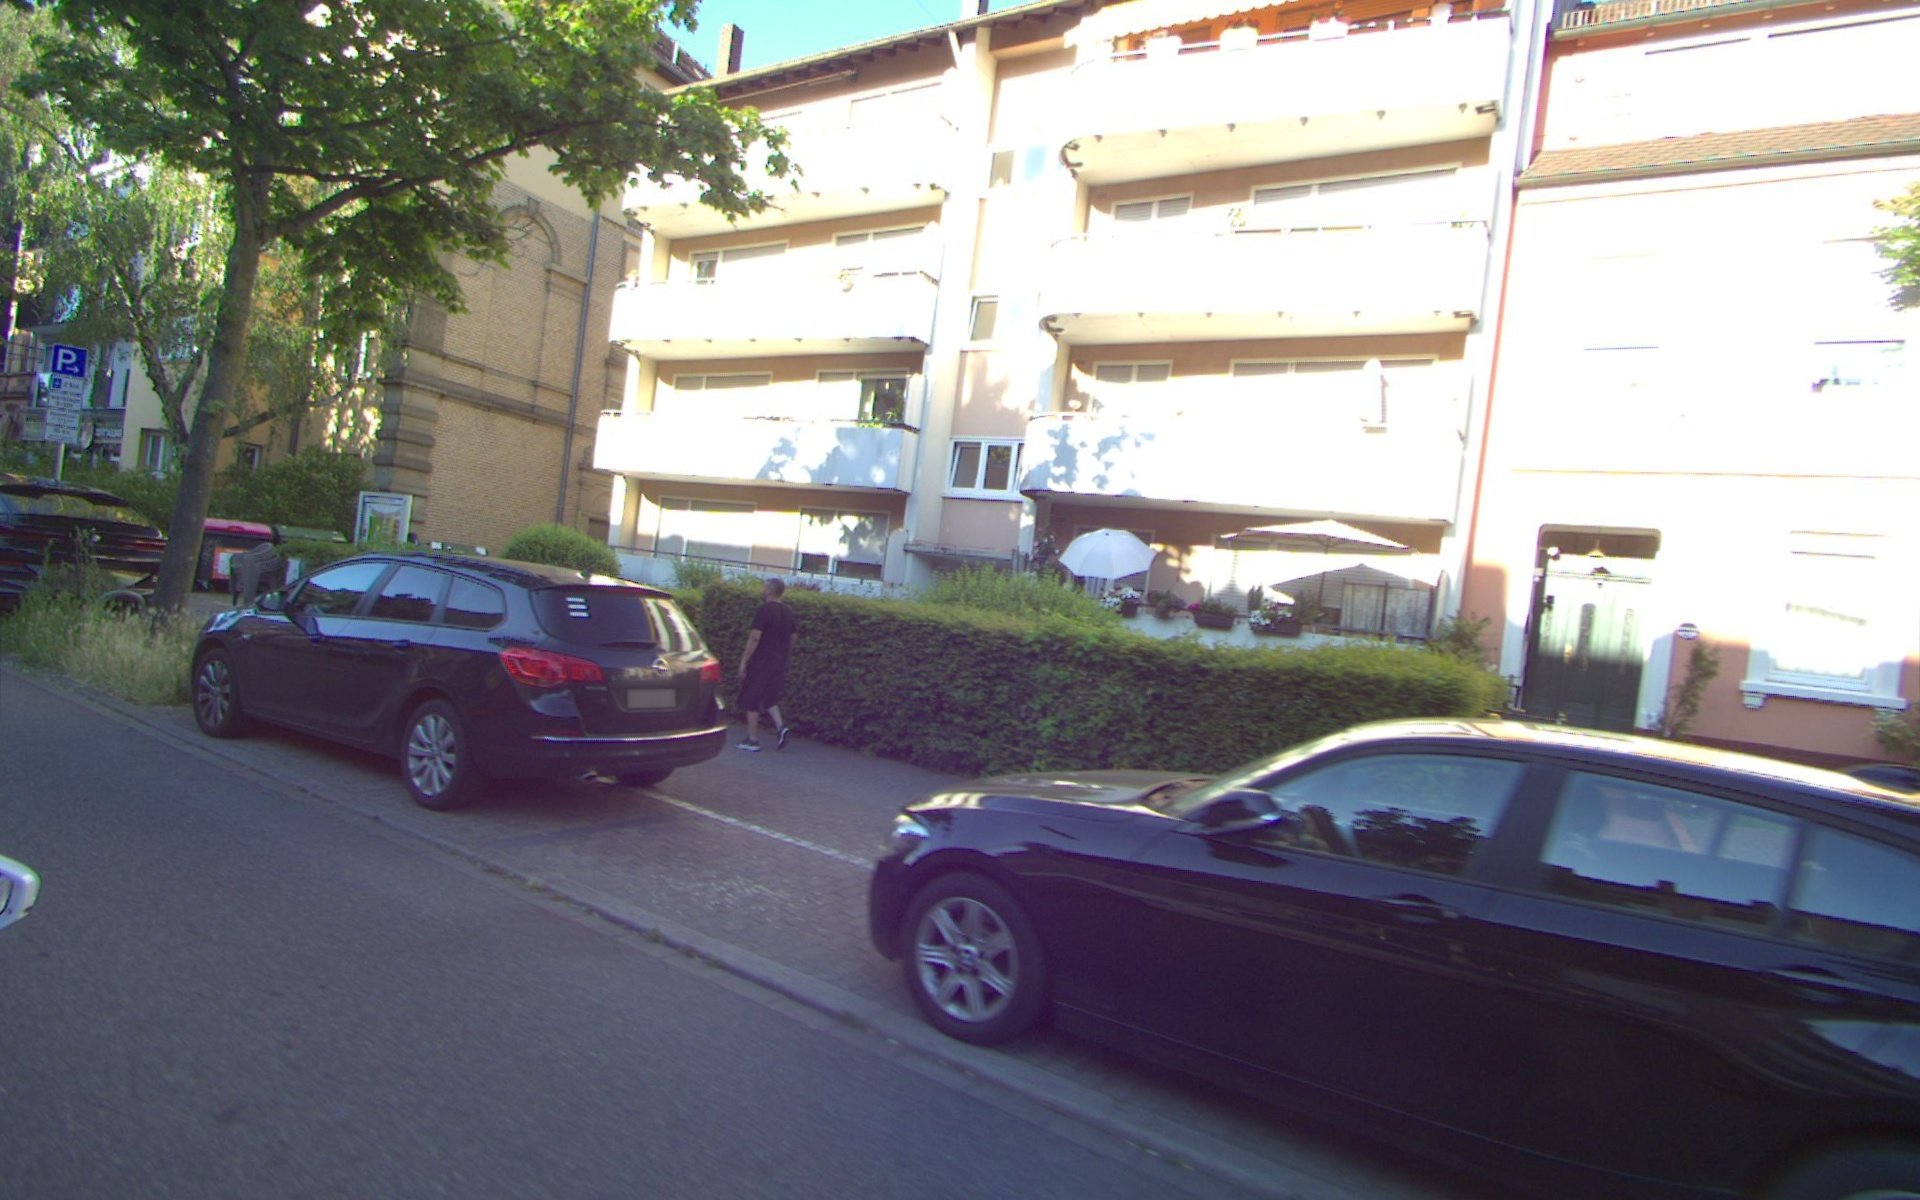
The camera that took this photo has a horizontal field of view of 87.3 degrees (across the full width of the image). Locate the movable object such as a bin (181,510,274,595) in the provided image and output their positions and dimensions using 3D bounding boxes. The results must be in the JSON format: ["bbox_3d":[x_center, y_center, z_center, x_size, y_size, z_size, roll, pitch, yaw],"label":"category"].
[{"bbox_3d":[-14.422,-0.932,19.799,1.249,1.459,0.982,7,0,-44],"label":"movable object such as a bin"}]

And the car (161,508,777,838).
[{"bbox_3d":[-3.616,0.345,7.176,4.356,1.490,1.719,7,0,30],"label":"car"}]

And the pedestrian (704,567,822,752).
[{"bbox_3d":[-1.873,0.565,9.600,0.570,1.636,0.747,7,0,30],"label":"pedestrian"}]

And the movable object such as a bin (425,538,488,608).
[{"bbox_3d":[-11.766,-0.641,23.506,1.130,1.459,0.987,7,0,-30],"label":"movable object such as a bin"}]

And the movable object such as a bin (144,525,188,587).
[{"bbox_3d":[-14.902,-0.820,18.874,0.541,1.072,0.493,8,1,44],"label":"movable object such as a bin"}]

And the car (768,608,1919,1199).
[{"bbox_3d":[1.606,1.055,3.713,4.410,1.467,1.772,7,0,32],"label":"car"}]

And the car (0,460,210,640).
[{"bbox_3d":[-11.061,-0.712,11.748,4.716,1.675,1.951,7,0,31],"label":"car"}]

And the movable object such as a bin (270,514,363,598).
[{"bbox_3d":[-13.540,-0.910,21.186,0.976,1.574,1.158,7,0,22],"label":"movable object such as a bin"}]

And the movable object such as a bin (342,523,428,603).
[{"bbox_3d":[-12.695,-0.798,22.239,0.976,1.574,1.158,7,0,22],"label":"movable object such as a bin"}]
